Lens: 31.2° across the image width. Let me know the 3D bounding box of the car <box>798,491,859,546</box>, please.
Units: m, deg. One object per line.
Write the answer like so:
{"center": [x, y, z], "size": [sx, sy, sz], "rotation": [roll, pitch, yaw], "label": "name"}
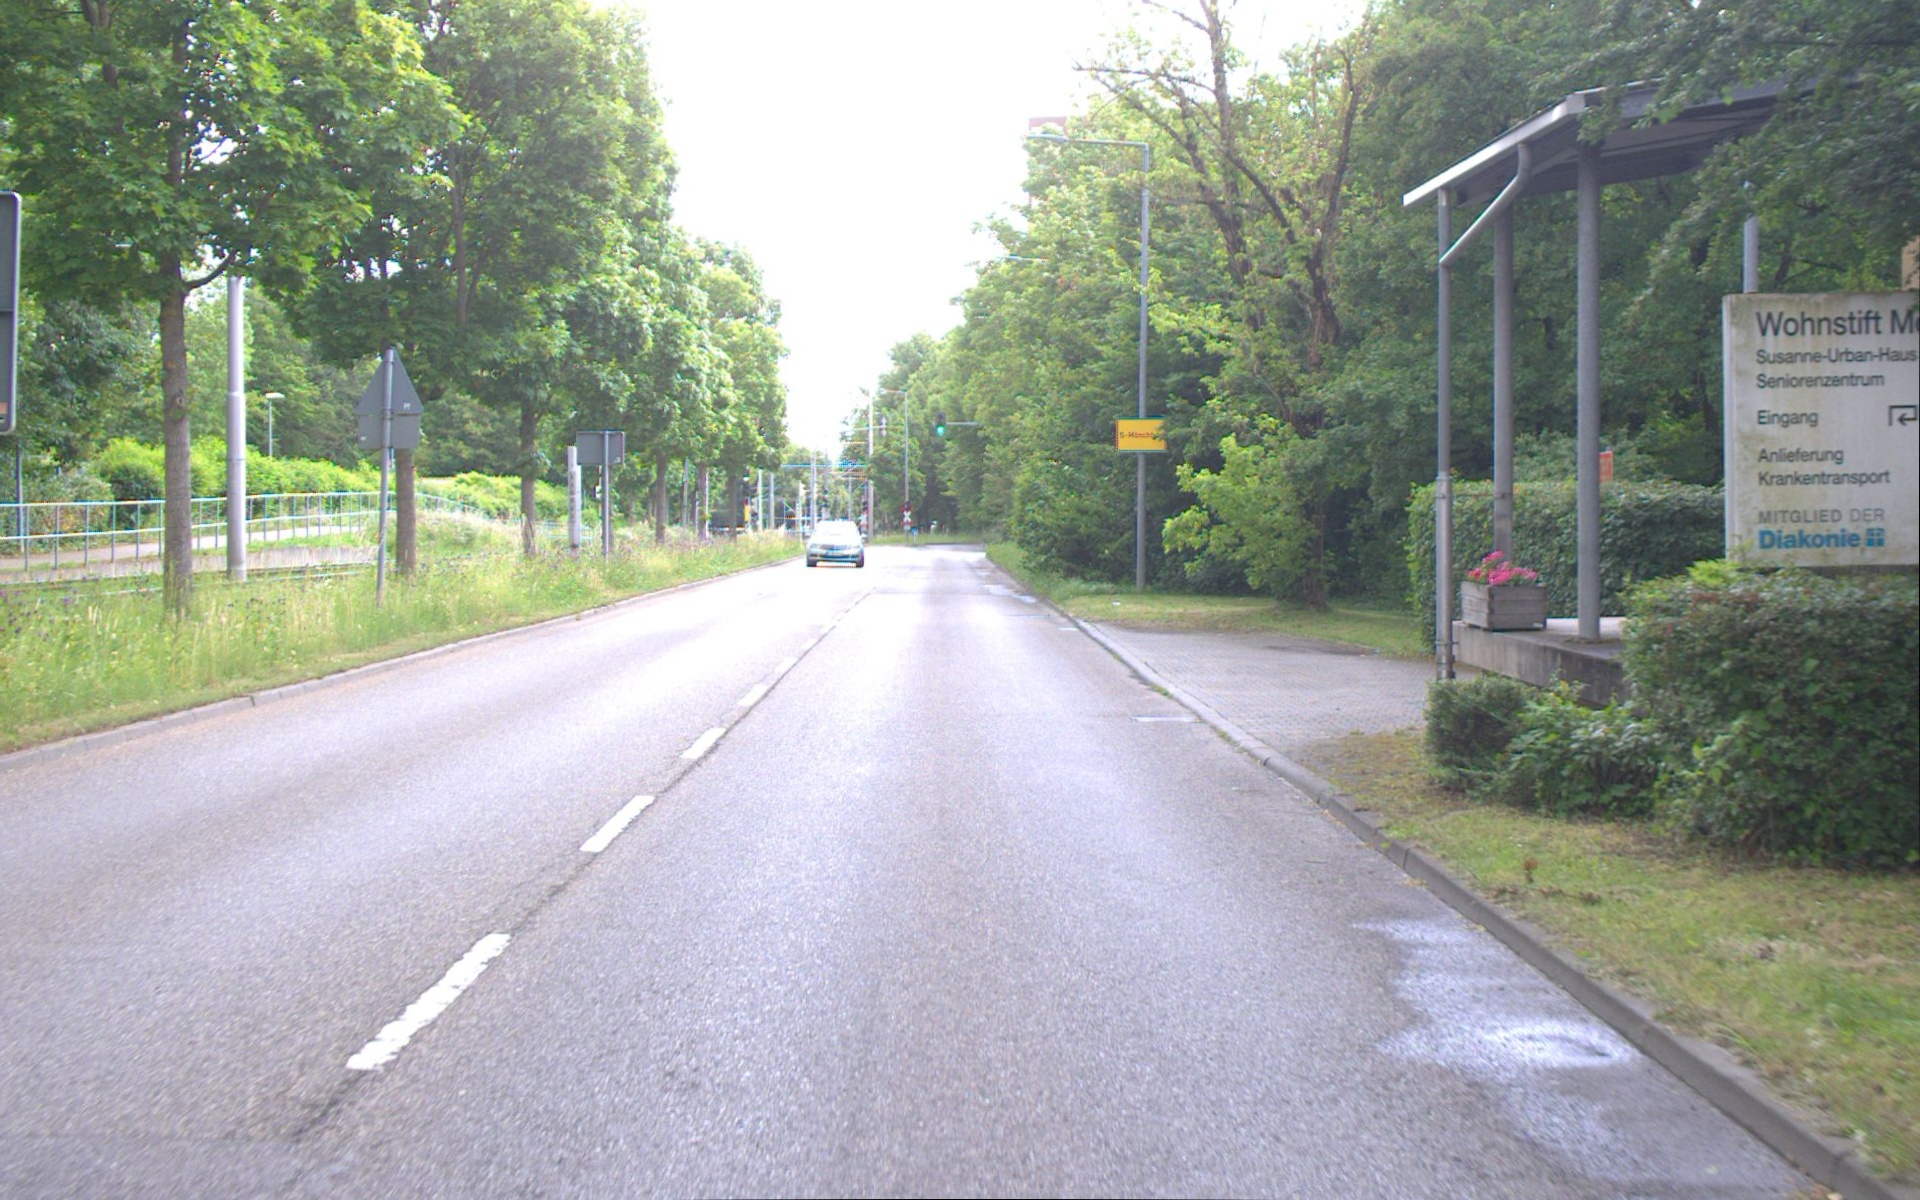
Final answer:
{"center": [-4.165, -2.615, 109.613], "size": [1.716, 1.624, 4.000], "rotation": [2, 2, 0], "label": "car"}
